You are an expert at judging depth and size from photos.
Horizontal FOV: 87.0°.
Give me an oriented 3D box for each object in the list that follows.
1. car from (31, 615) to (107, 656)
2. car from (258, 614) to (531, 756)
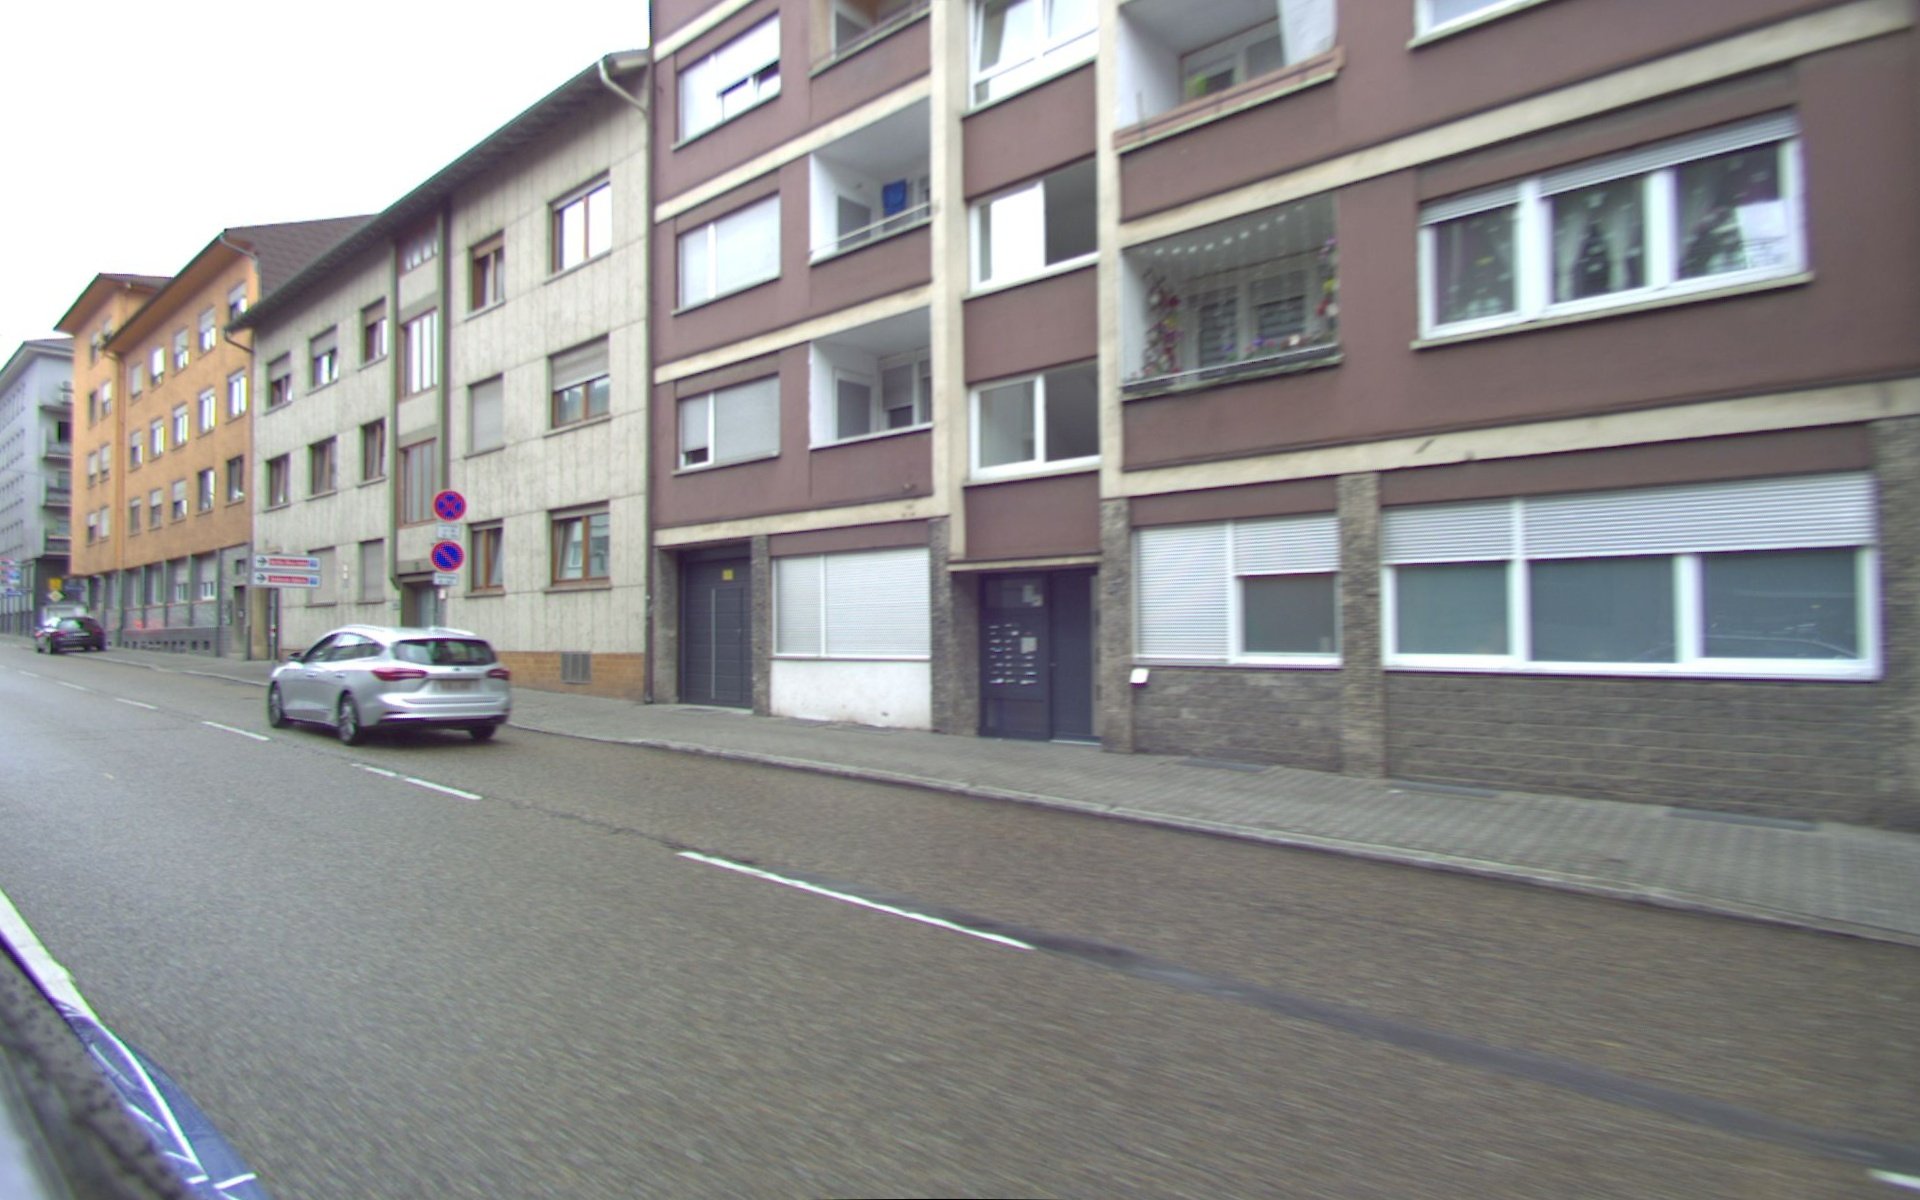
[{"bbox_3d":[-36.369,1.409,41.273,4.216,1.485,1.776,0,2,41],"label":"car"},{"bbox_3d":[-7.640,1.002,13.495,4.356,1.551,1.754,0,-2,41],"label":"car"}]
